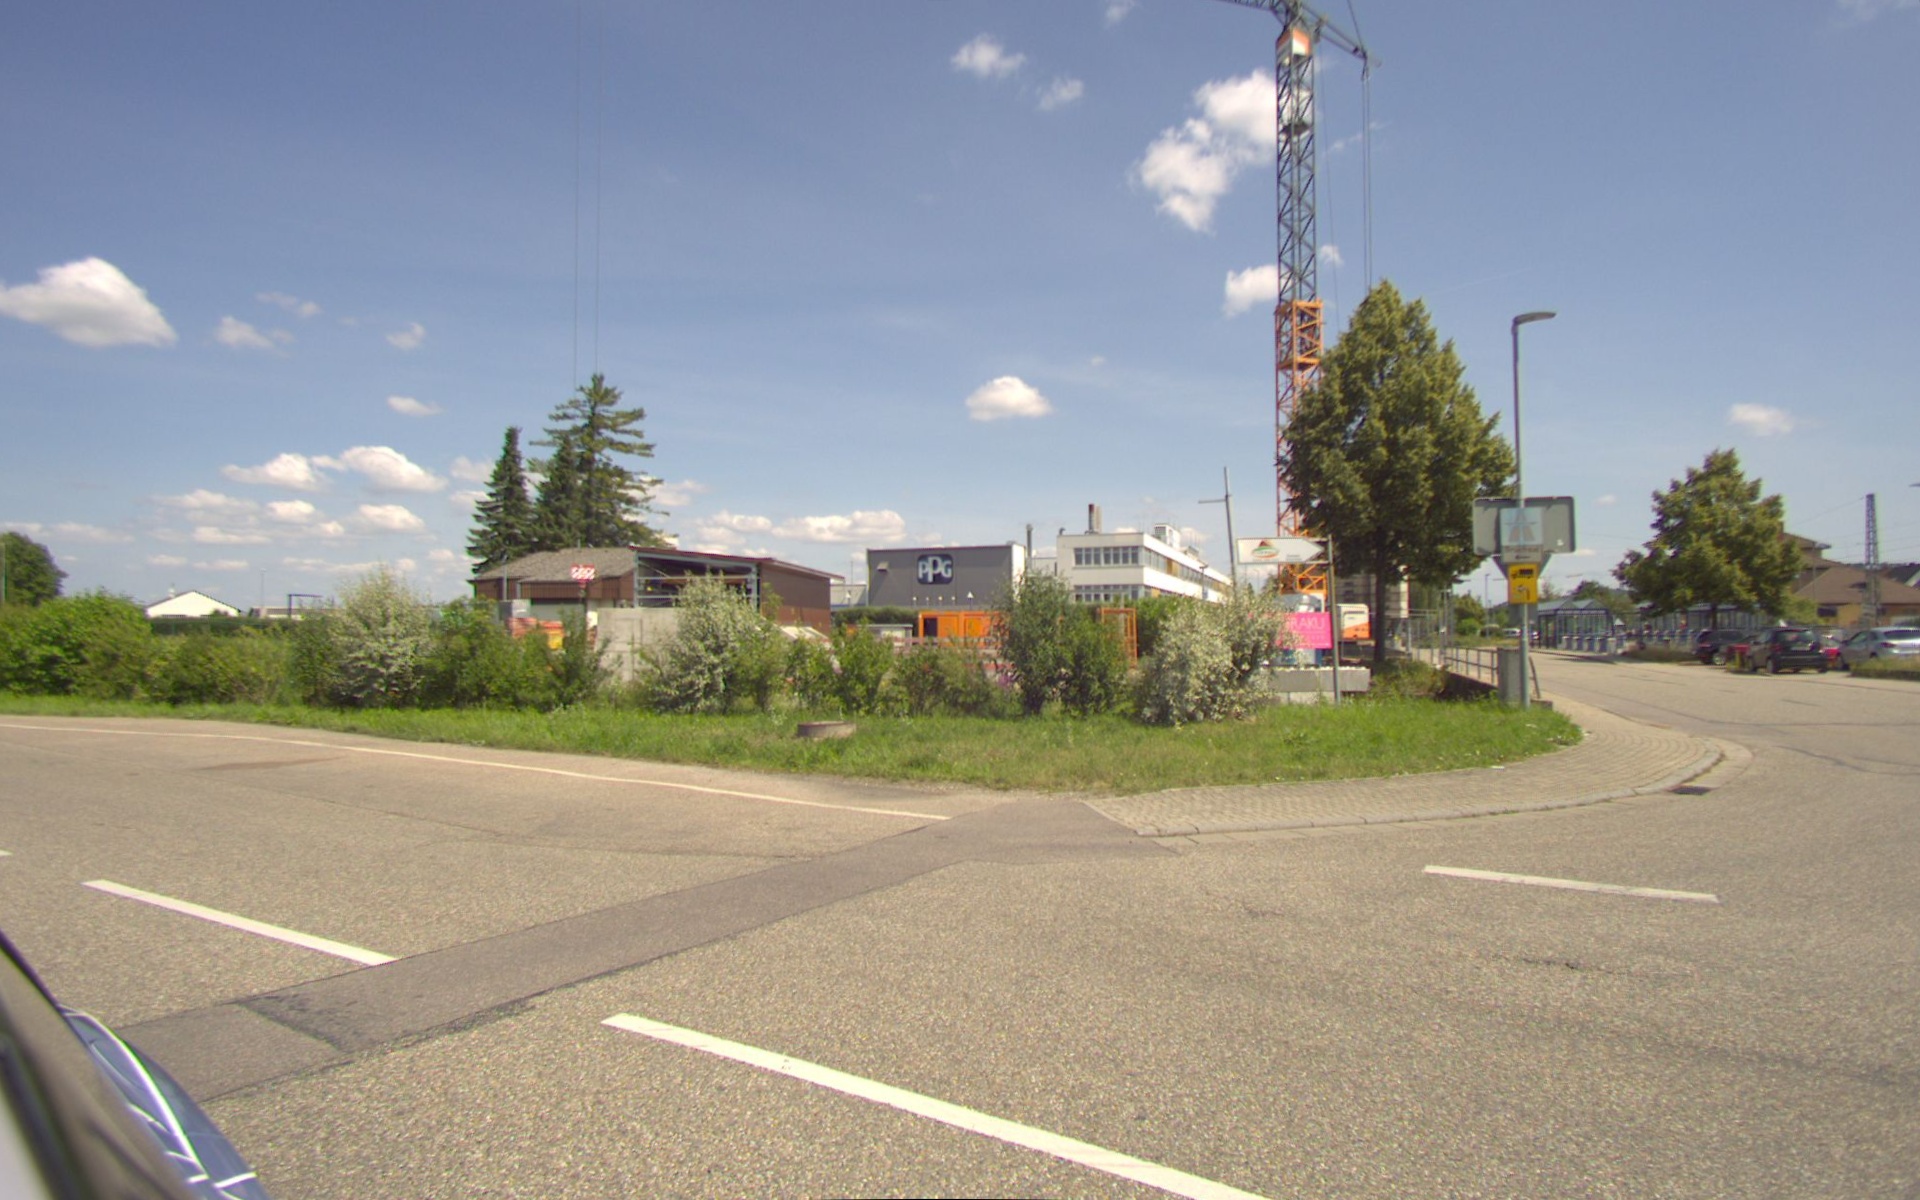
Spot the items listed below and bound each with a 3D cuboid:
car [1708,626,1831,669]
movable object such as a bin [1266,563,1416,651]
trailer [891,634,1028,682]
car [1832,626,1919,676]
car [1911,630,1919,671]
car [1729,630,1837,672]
[{"bbox_3d":[32.015,1.861,40.123,3.404,1.604,1.643,0,0,13],"label":"car"},{"bbox_3d":[15.173,0.234,40.551,5.060,3.317,2.395,-1,3,2],"label":"movable object such as a bin"},{"bbox_3d":[0.024,2.300,40.295,5.332,1.792,1.819,-1,0,6],"label":"trailer"},{"bbox_3d":[30.568,1.625,33.171,1.597,1.533,3.973,-1,-2,20],"label":"car"},{"bbox_3d":[32.395,1.623,32.191,1.610,1.359,3.973,-1,-2,20],"label":"car"},{"bbox_3d":[28.317,1.725,34.945,1.597,1.360,3.973,-1,-2,20],"label":"car"}]
